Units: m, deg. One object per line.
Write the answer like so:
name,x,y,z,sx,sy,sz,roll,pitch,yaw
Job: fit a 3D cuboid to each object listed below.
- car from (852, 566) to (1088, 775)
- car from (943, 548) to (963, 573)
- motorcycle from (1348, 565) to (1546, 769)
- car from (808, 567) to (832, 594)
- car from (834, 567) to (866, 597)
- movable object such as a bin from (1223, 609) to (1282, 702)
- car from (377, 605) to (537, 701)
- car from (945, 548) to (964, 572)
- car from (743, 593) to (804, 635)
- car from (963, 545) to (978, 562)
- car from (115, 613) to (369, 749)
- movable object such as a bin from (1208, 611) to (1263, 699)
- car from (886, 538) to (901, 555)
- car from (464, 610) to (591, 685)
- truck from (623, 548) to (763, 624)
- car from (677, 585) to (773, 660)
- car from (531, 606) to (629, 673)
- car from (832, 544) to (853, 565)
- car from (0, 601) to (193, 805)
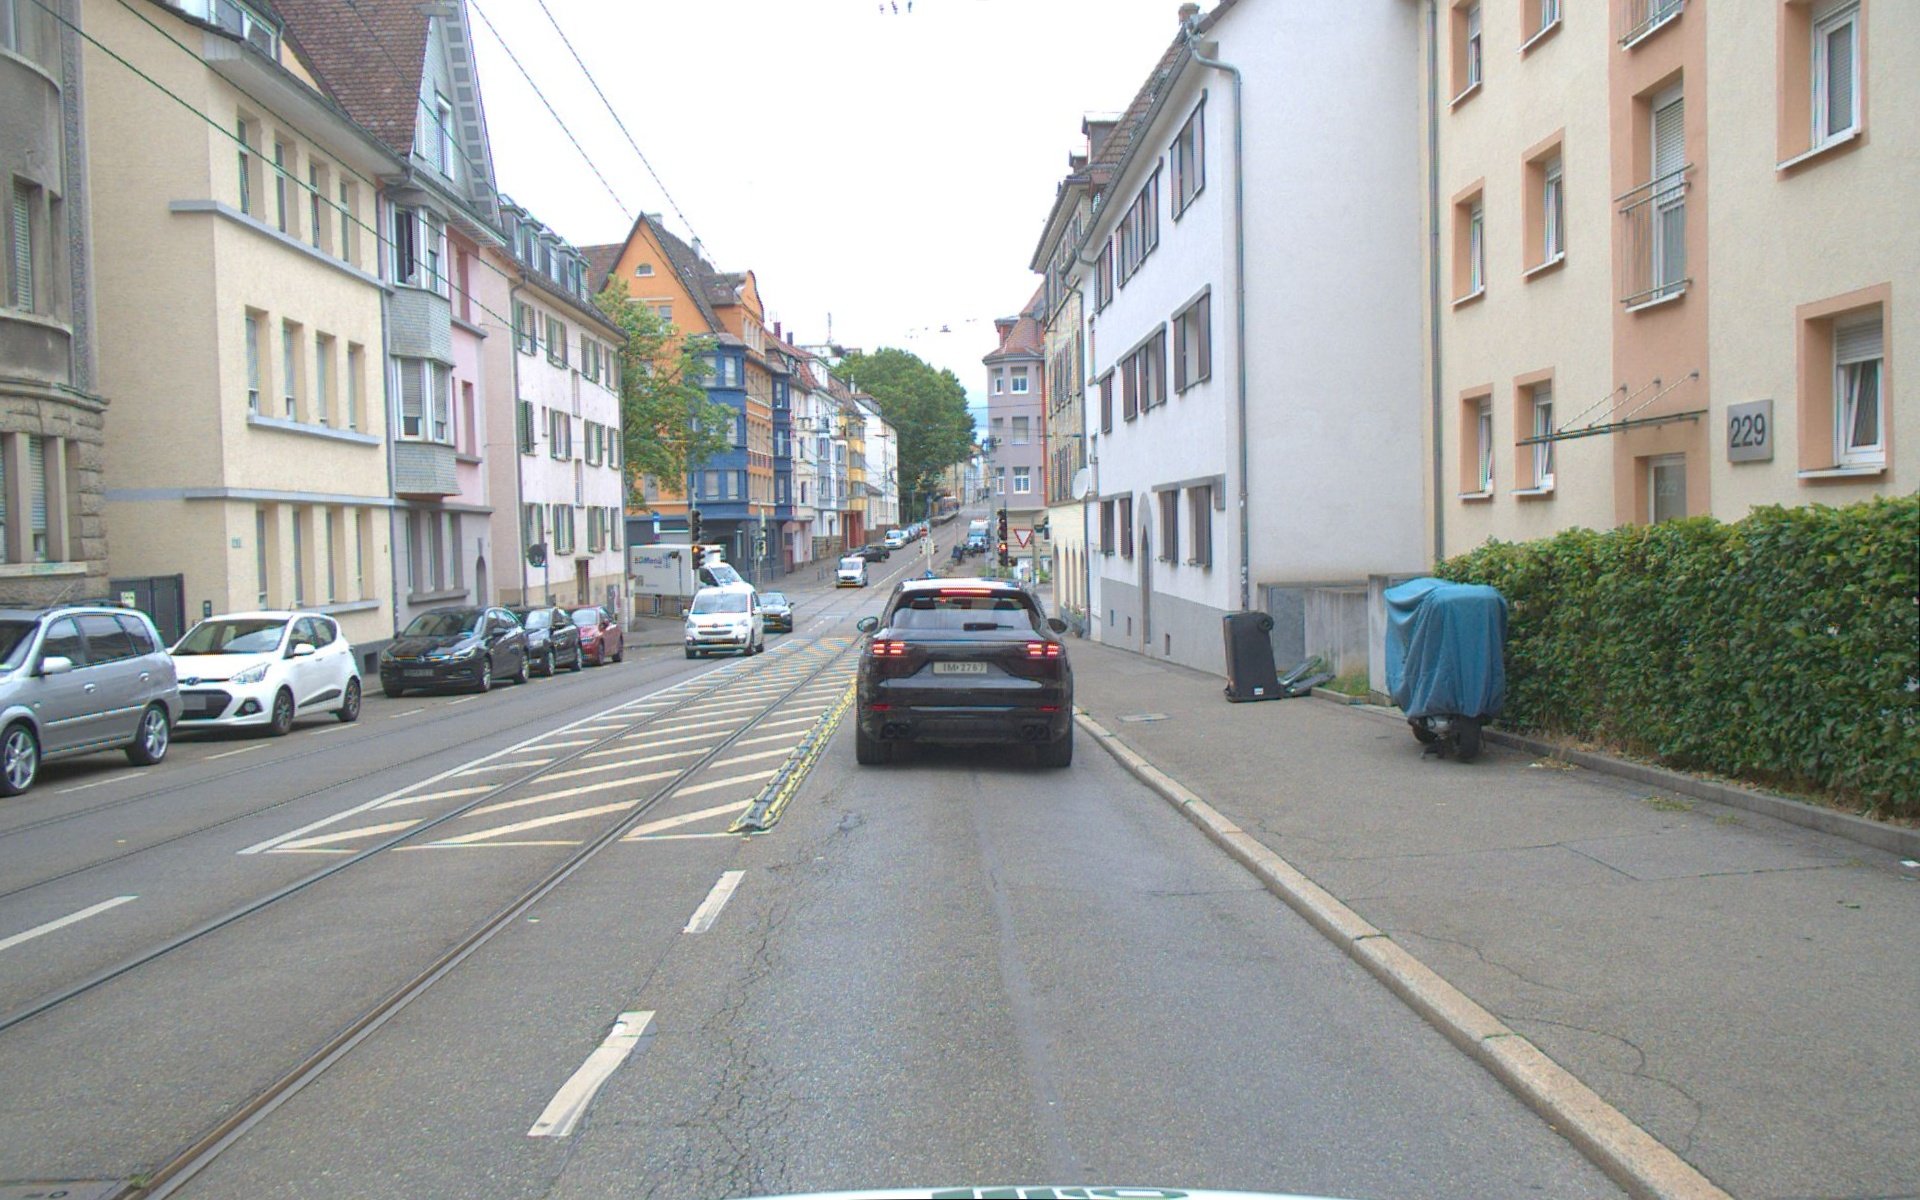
car,0.037,0.586,15.969,1.953,1.705,3.999,-2,0,-2
car,-0.527,-2.871,121.135,1.366,1.752,3.358,-2,0,0
motorcycle,3.900,0.489,13.506,0.821,1.482,2.552,-1,0,0
car,-9.655,-1.344,114.531,1.366,1.752,3.358,-2,0,0
car,-7.023,-1.129,105.652,1.715,1.790,4.253,-2,0,0
movable object such as a bin,3.588,0.670,20.329,0.576,1.099,0.692,-1,0,1
car,-8.846,0.888,29.467,1.588,1.499,4.553,-2,0,-2
car,-0.445,-3.051,128.128,1.366,1.752,3.358,-2,0,0
car,-6.964,0.498,62.210,1.882,1.449,4.496,-2,0,-2
car,0.964,-4.305,153.404,1.366,1.476,3.358,-2,0,0
car,-8.909,0.947,20.852,1.588,1.488,3.684,-2,0,-1
movable object such as a bin,3.547,0.700,21.338,0.598,1.099,0.541,-1,0,1
car,-6.607,-5.336,165.215,1.366,1.476,3.358,-2,0,0
car,-9.182,0.974,35.392,1.701,1.434,3.999,-2,0,-1
truck,-12.704,-0.644,78.572,6.253,3.429,2.346,-2,0,24
car,-6.130,0.554,43.655,1.881,1.850,4.217,-2,0,0
car,-9.326,0.944,40.880,1.588,1.516,4.045,-2,0,-2
car,-9.019,-3.475,127.410,1.366,1.476,3.358,-2,0,0
car,-8.748,0.883,15.075,1.588,1.632,4.349,-2,1,-2
